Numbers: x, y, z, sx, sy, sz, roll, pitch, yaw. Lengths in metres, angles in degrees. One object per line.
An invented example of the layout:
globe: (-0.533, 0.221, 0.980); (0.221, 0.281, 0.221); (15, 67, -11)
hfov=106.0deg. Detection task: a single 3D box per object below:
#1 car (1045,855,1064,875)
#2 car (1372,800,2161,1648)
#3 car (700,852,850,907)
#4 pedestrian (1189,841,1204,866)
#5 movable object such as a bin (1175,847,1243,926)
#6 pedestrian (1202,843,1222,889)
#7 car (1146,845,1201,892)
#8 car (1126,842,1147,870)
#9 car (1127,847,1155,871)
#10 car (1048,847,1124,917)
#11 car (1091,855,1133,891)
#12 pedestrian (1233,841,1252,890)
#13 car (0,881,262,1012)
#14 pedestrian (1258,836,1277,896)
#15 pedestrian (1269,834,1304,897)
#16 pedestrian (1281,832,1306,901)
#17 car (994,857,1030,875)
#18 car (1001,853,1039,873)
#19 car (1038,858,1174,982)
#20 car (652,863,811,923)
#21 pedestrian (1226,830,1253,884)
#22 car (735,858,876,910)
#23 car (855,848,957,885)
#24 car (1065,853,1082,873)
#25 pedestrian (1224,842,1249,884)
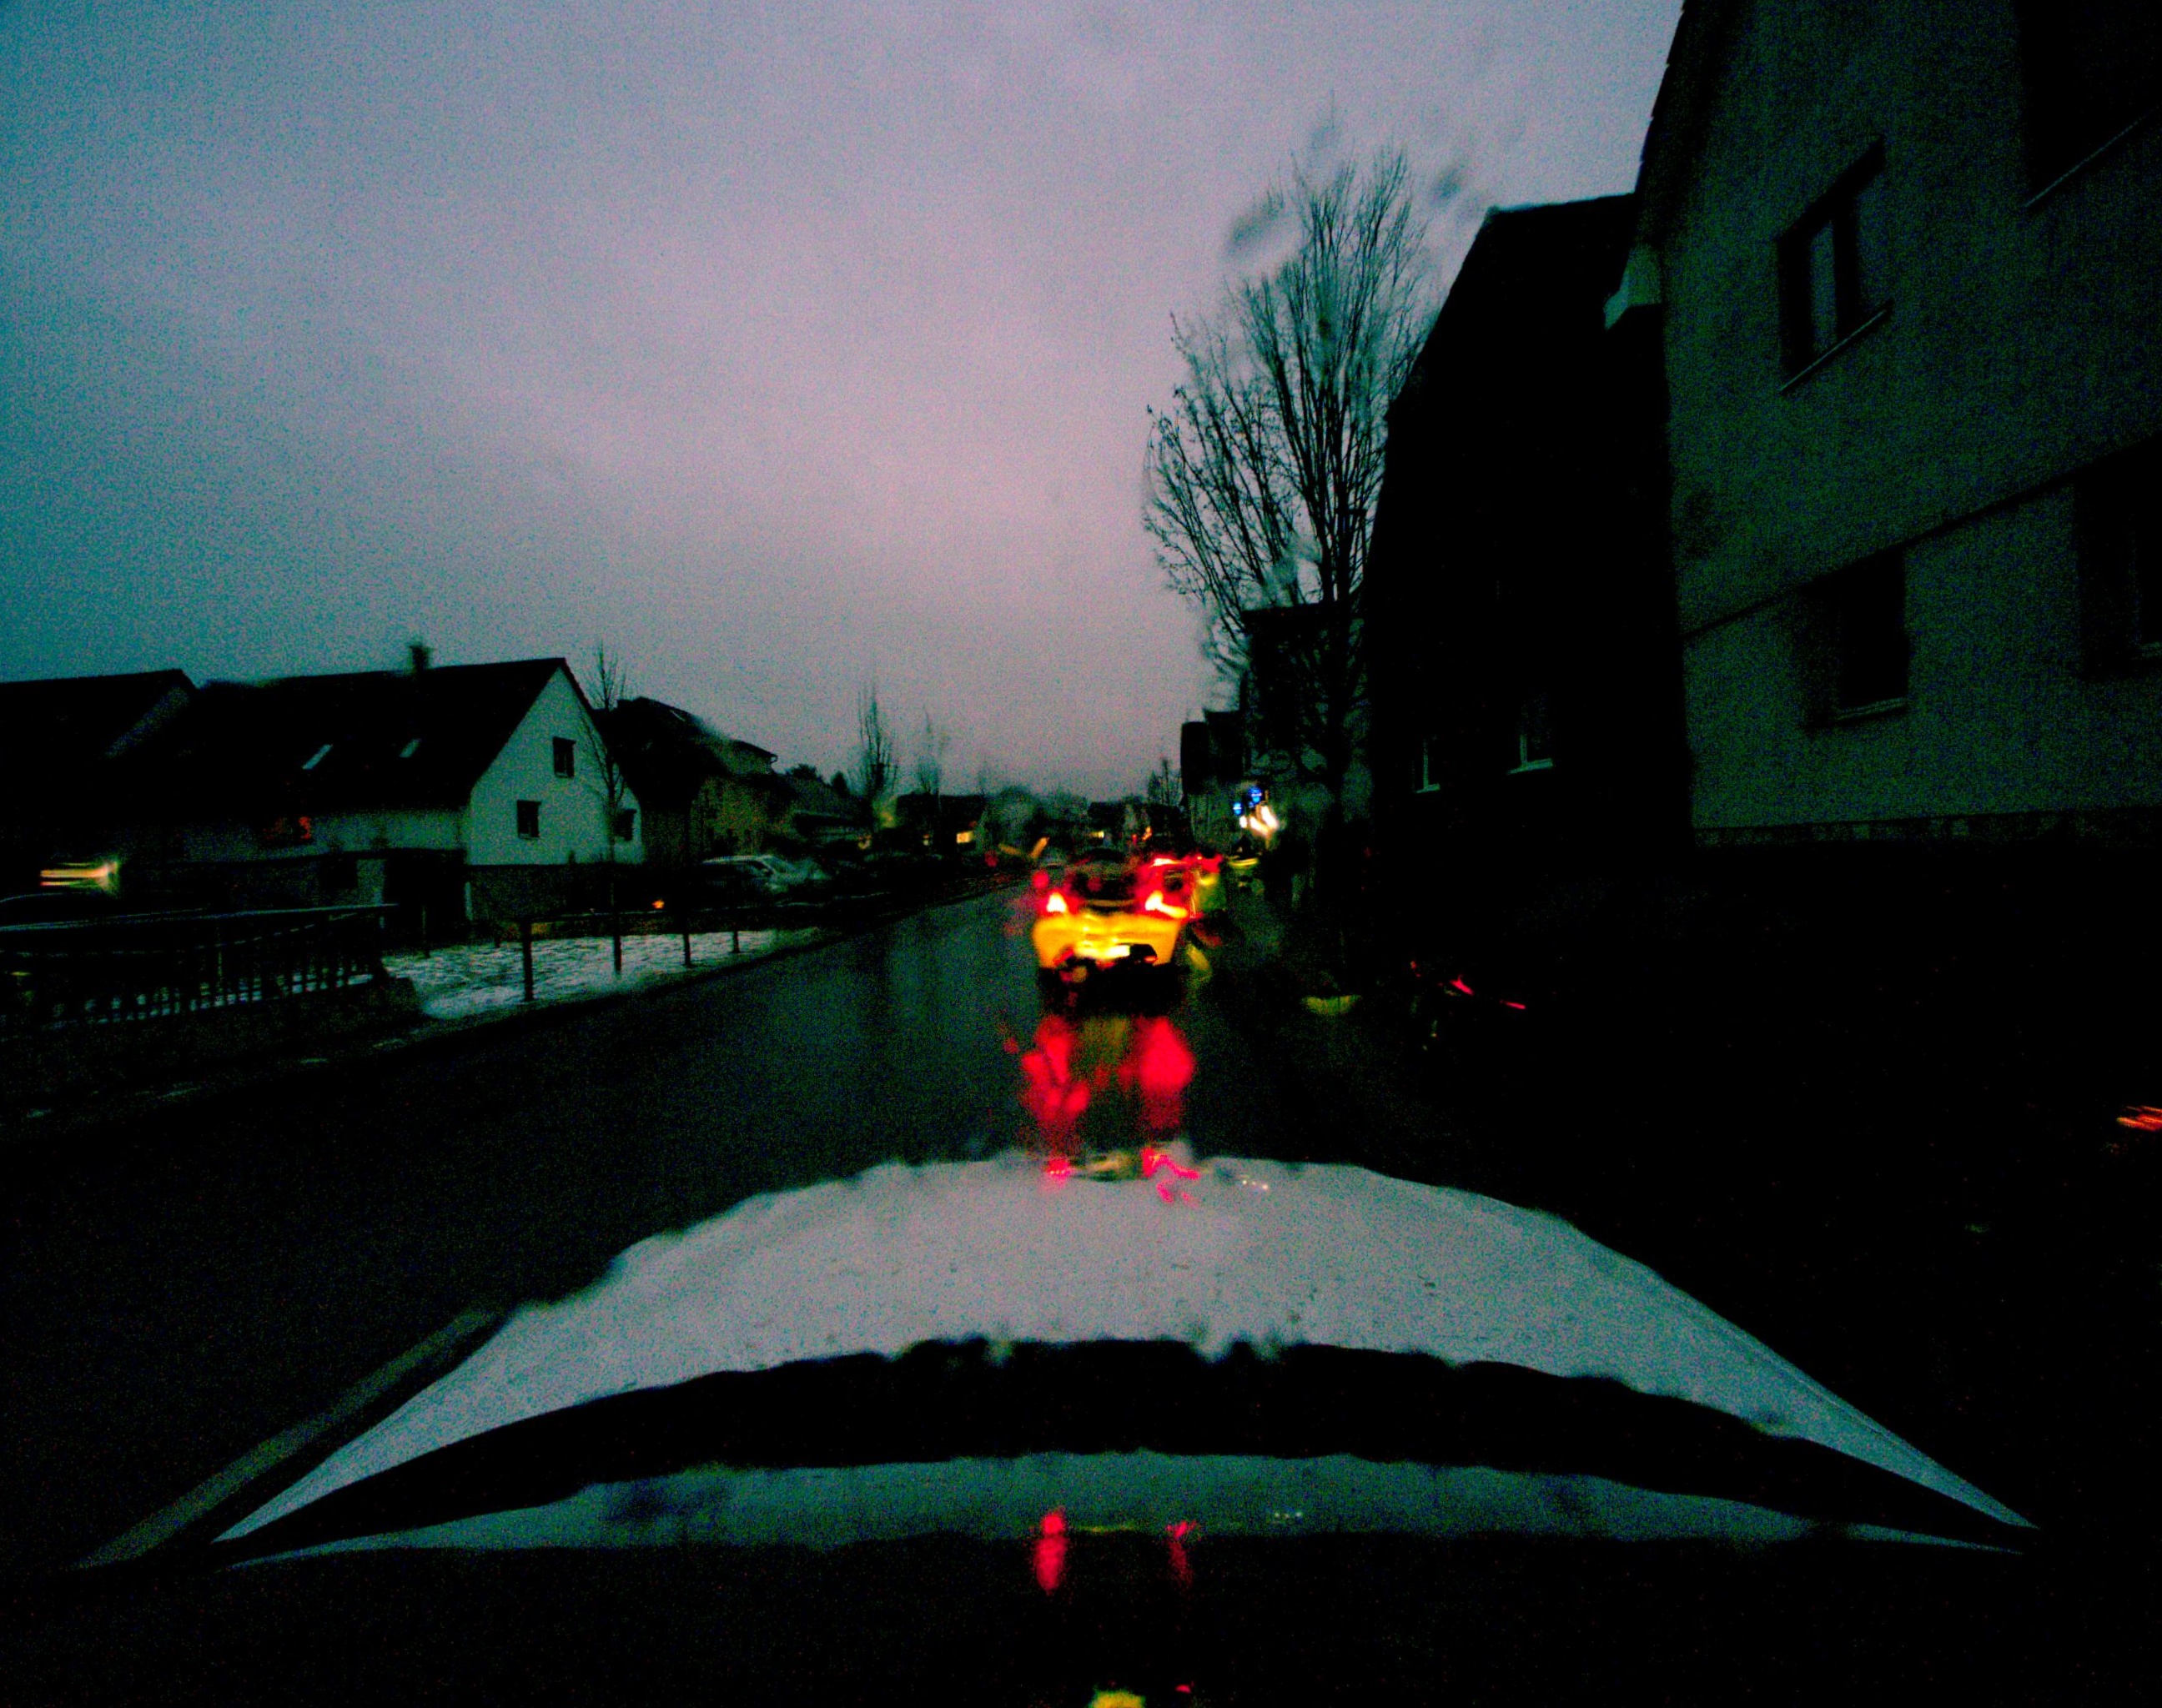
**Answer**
car: (-2.825, 1.224, 87.680); (1.913, 2.028, 3.974); (0, -2, 0)
car: (2.790, 0.615, 3.524); (1.721, 1.464, 4.203); (-5, 0, 4)
car: (-9.059, 0.756, 24.265); (3.772, 1.523, 1.718); (-1, -1, 8)
pedestrian: (6.918, -0.037, 48.865); (0.618, 1.515, 0.731); (-2, 1, -12)
movable object such as a bin: (2.543, 0.617, 16.427); (1.124, 1.420, 1.419); (-5, 0, 4)
pedestrian: (5.052, 0.453, 31.404); (0.571, 1.699, 0.653); (-4, -1, 3)
car: (3.659, 0.547, 32.774); (1.729, 1.692, 4.387); (-2, 0, 1)
car: (5.220, 0.193, 77.078); (1.862, 2.469, 4.446); (-1, -2, 3)
car: (4.736, 0.411, 64.666); (1.990, 1.865, 4.085); (-1, -1, 2)
car: (0.212, 0.660, 21.013); (1.759, 1.628, 3.589); (-1, 0, 4)
car: (1.218, 0.720, 32.160); (1.535, 1.331, 3.312); (-1, 0, 2)
pedestrian: (5.579, 0.397, 28.045); (0.476, 1.630, 1.023); (-3, 0, 15)
car: (-14.202, 1.261, 10.784); (1.794, 1.482, 4.577); (-4, 0, 4)
pedestrian: (5.758, 0.368, 25.155); (0.525, 1.800, 0.867); (-1, 0, 12)
pedestrian: (5.710, 0.328, 22.672); (0.743, 1.679, 1.054); (-4, -2, 8)
pedestrian: (5.185, 0.318, 19.891); (0.525, 1.653, 0.956); (-1, -3, 12)
car: (-7.796, 1.380, 91.858); (1.833, 1.976, 4.117); (2, -3, -44)
car: (-7.108, 1.079, 94.374); (2.011, 2.167, 4.331); (2, -3, -44)
car: (0.335, 0.768, 10.905); (1.557, 1.412, 3.019); (-1, 0, 2)
car: (-9.149, 1.002, 21.477); (3.432, 1.372, 1.601); (-2, 0, 1)
pedestrian: (5.233, 0.092, 26.863); (0.707, 1.715, 1.039); (-3, 0, 15)
car: (-9.081, 0.976, 27.018); (4.074, 1.608, 1.589); (-1, -1, 5)
car: (-8.658, 0.621, 40.563); (4.611, 1.667, 1.999); (-1, -1, -1)
car: (-0.900, 1.052, 95.385); (1.913, 2.216, 3.974); (0, -2, 0)
pedestrian: (6.071, 0.338, 31.782); (0.618, 1.626, 0.903); (-2, 1, -11)
